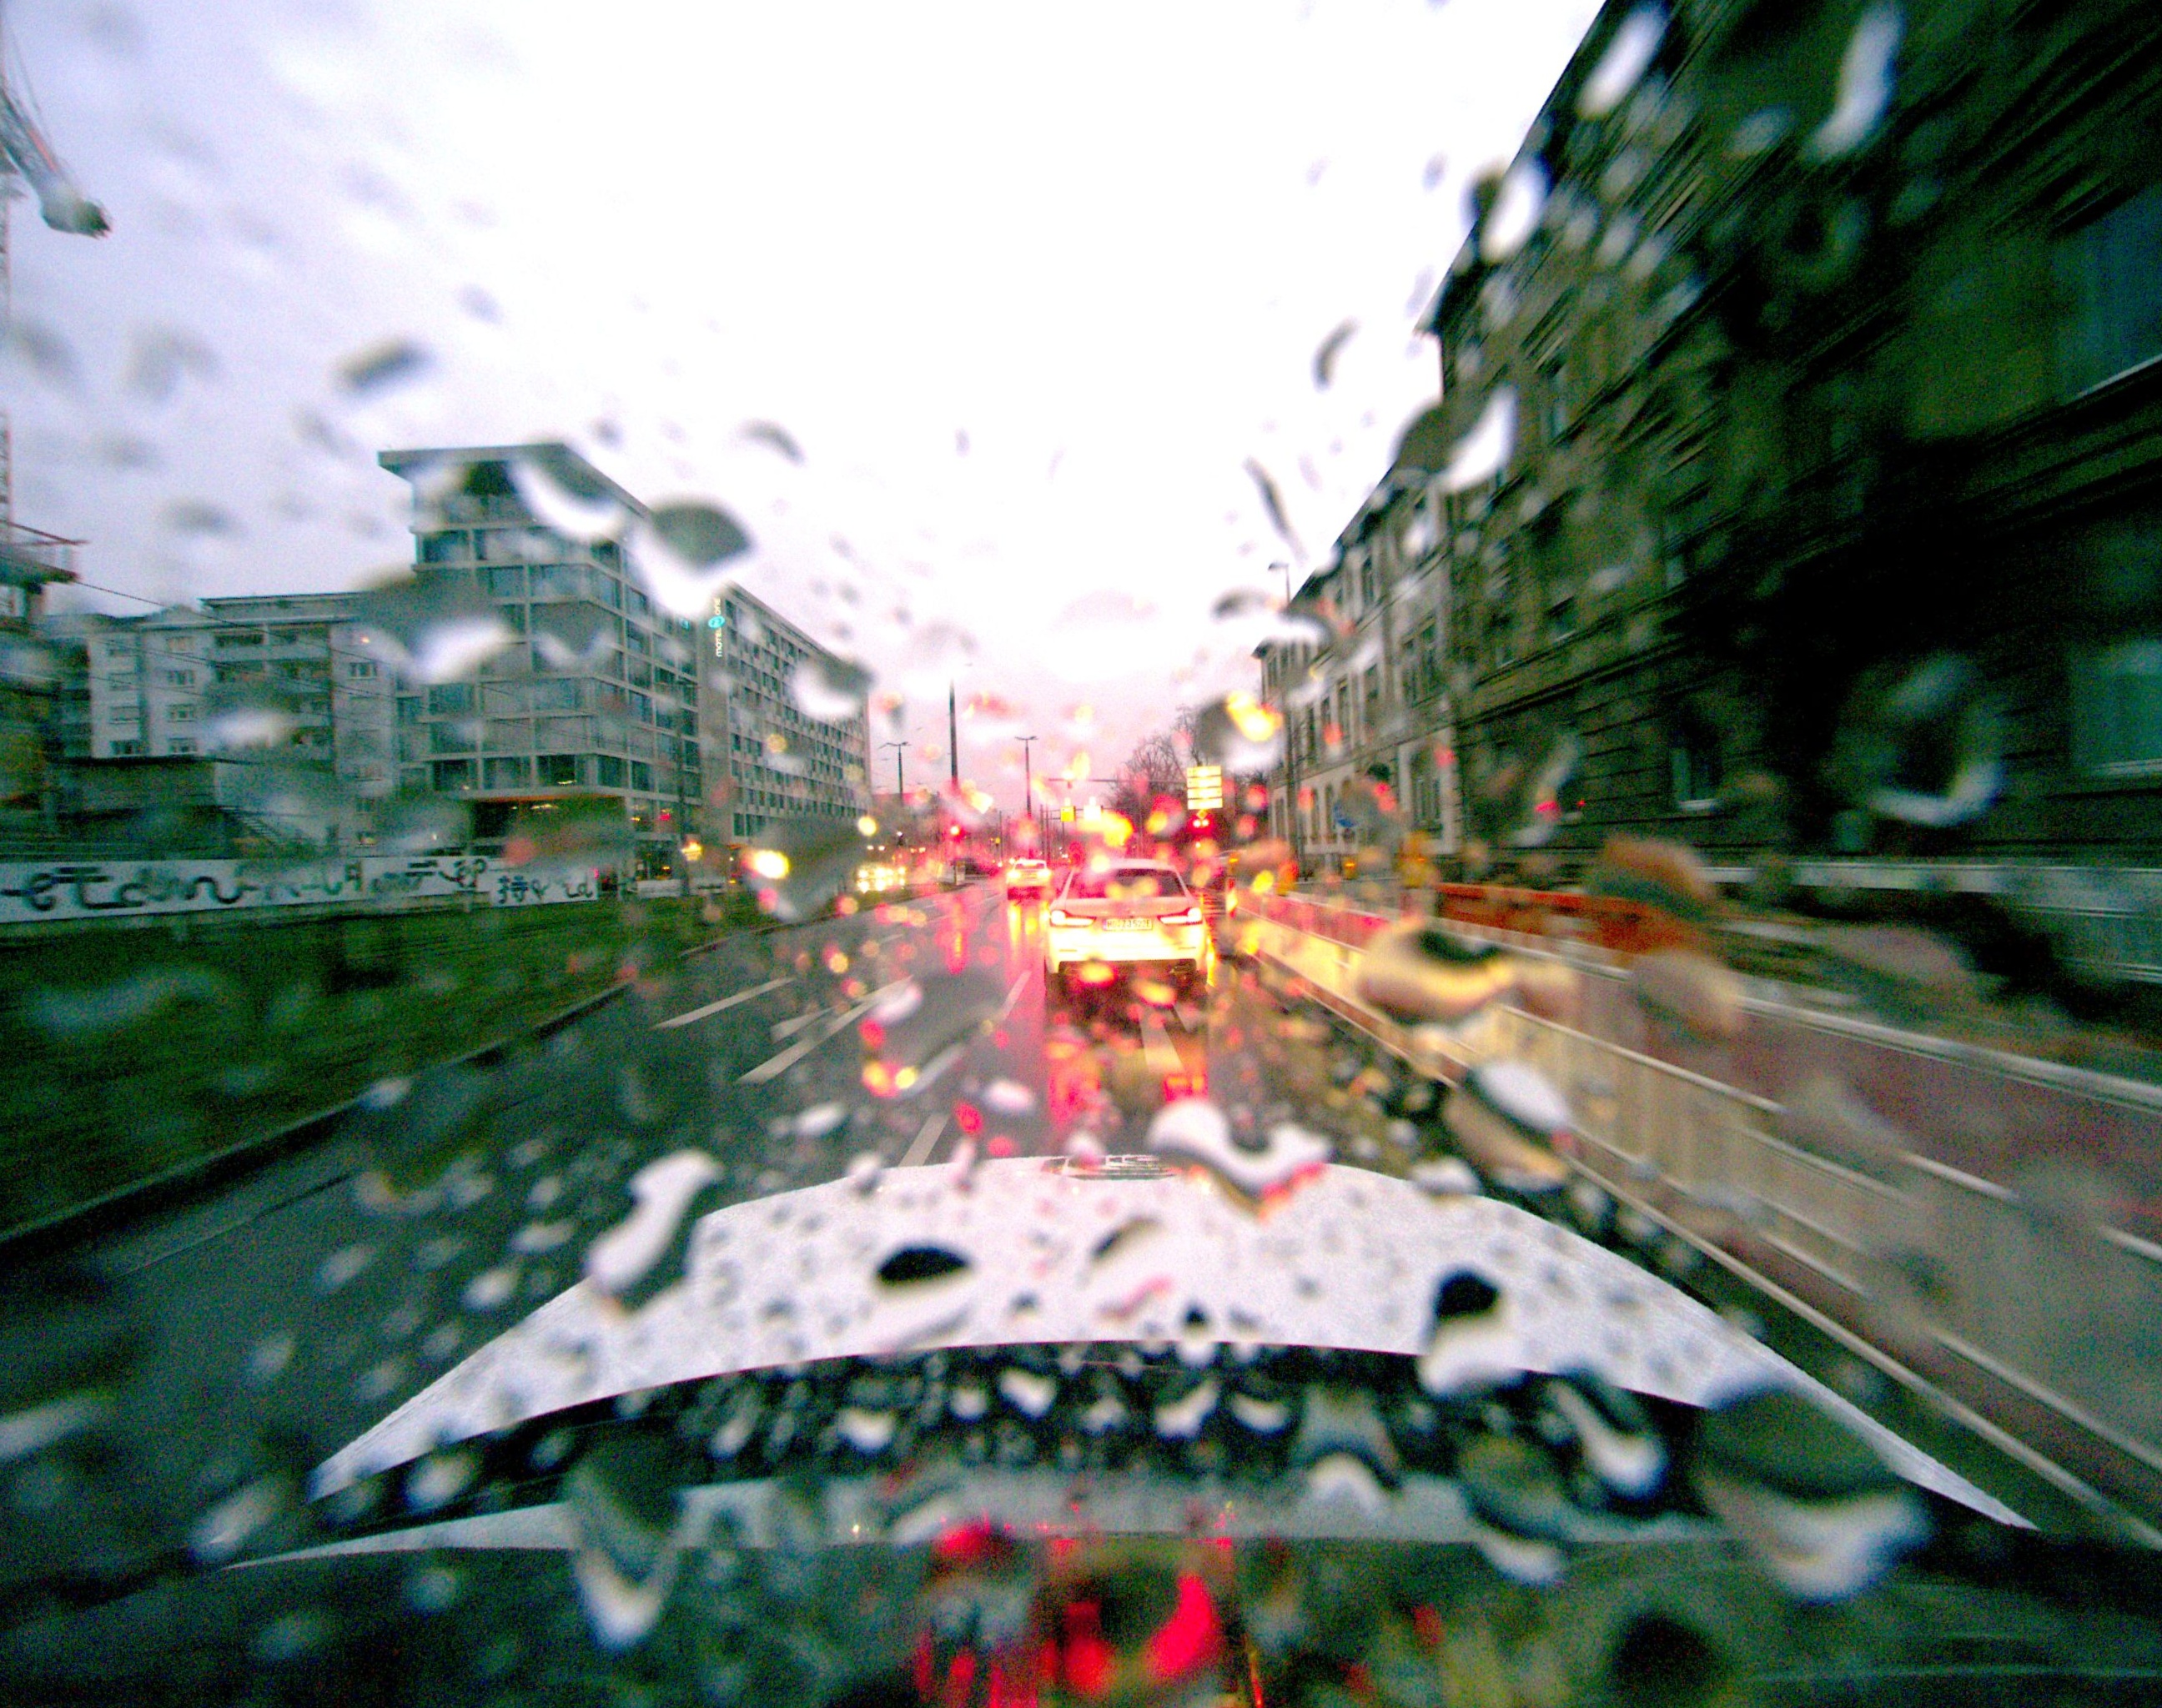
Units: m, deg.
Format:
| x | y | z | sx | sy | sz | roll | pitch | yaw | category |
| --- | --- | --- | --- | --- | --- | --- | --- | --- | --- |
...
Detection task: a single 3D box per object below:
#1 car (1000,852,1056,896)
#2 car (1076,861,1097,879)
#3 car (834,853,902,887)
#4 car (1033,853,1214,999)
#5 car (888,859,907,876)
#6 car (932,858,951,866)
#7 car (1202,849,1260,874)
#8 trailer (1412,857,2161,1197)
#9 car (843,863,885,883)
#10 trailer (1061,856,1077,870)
| x | y | z | sx | sy | sz | roll | pitch | yaw | category |
| --- | --- | --- | --- | --- | --- | --- | --- | --- | --- |
| -2.093 | 0.763 | 33.281 | 1.894 | 1.642 | 4.001 | -1 | 0 | 1 | car |
| 0.597 | 1.521 | 78.588 | 1.894 | 1.642 | 4.001 | -1 | 0 | 1 | car |
| -13.210 | 0.982 | 50.456 | 3.997 | 1.975 | 1.988 | -1 | 0 | -18 | car |
| 0.477 | 0.747 | 10.885 | 1.845 | 1.465 | 4.947 | -1 | 0 | 1 | car |
| -19.271 | 1.428 | 85.709 | 1.558 | 1.659 | 3.387 | -1 | 0 | -7 | car |
| -32.611 | 1.822 | 190.592 | 4.207 | 1.745 | 1.836 | -2 | 0 | -6 | car |
| 11.269 | 0.582 | 61.129 | 3.953 | 1.797 | 1.860 | -1 | 0 | 20 | car |
| 3.726 | 0.736 | 5.190 | 1.844 | 1.346 | 3.529 | -2 | 0 | 1 | trailer |
| -17.487 | 1.528 | 65.603 | 3.498 | 1.492 | 1.755 | -1 | 0 | 45 | car |
| -1.416 | 1.064 | 96.110 | 1.829 | 1.643 | 3.998 | -1 | 0 | -1 | trailer |
